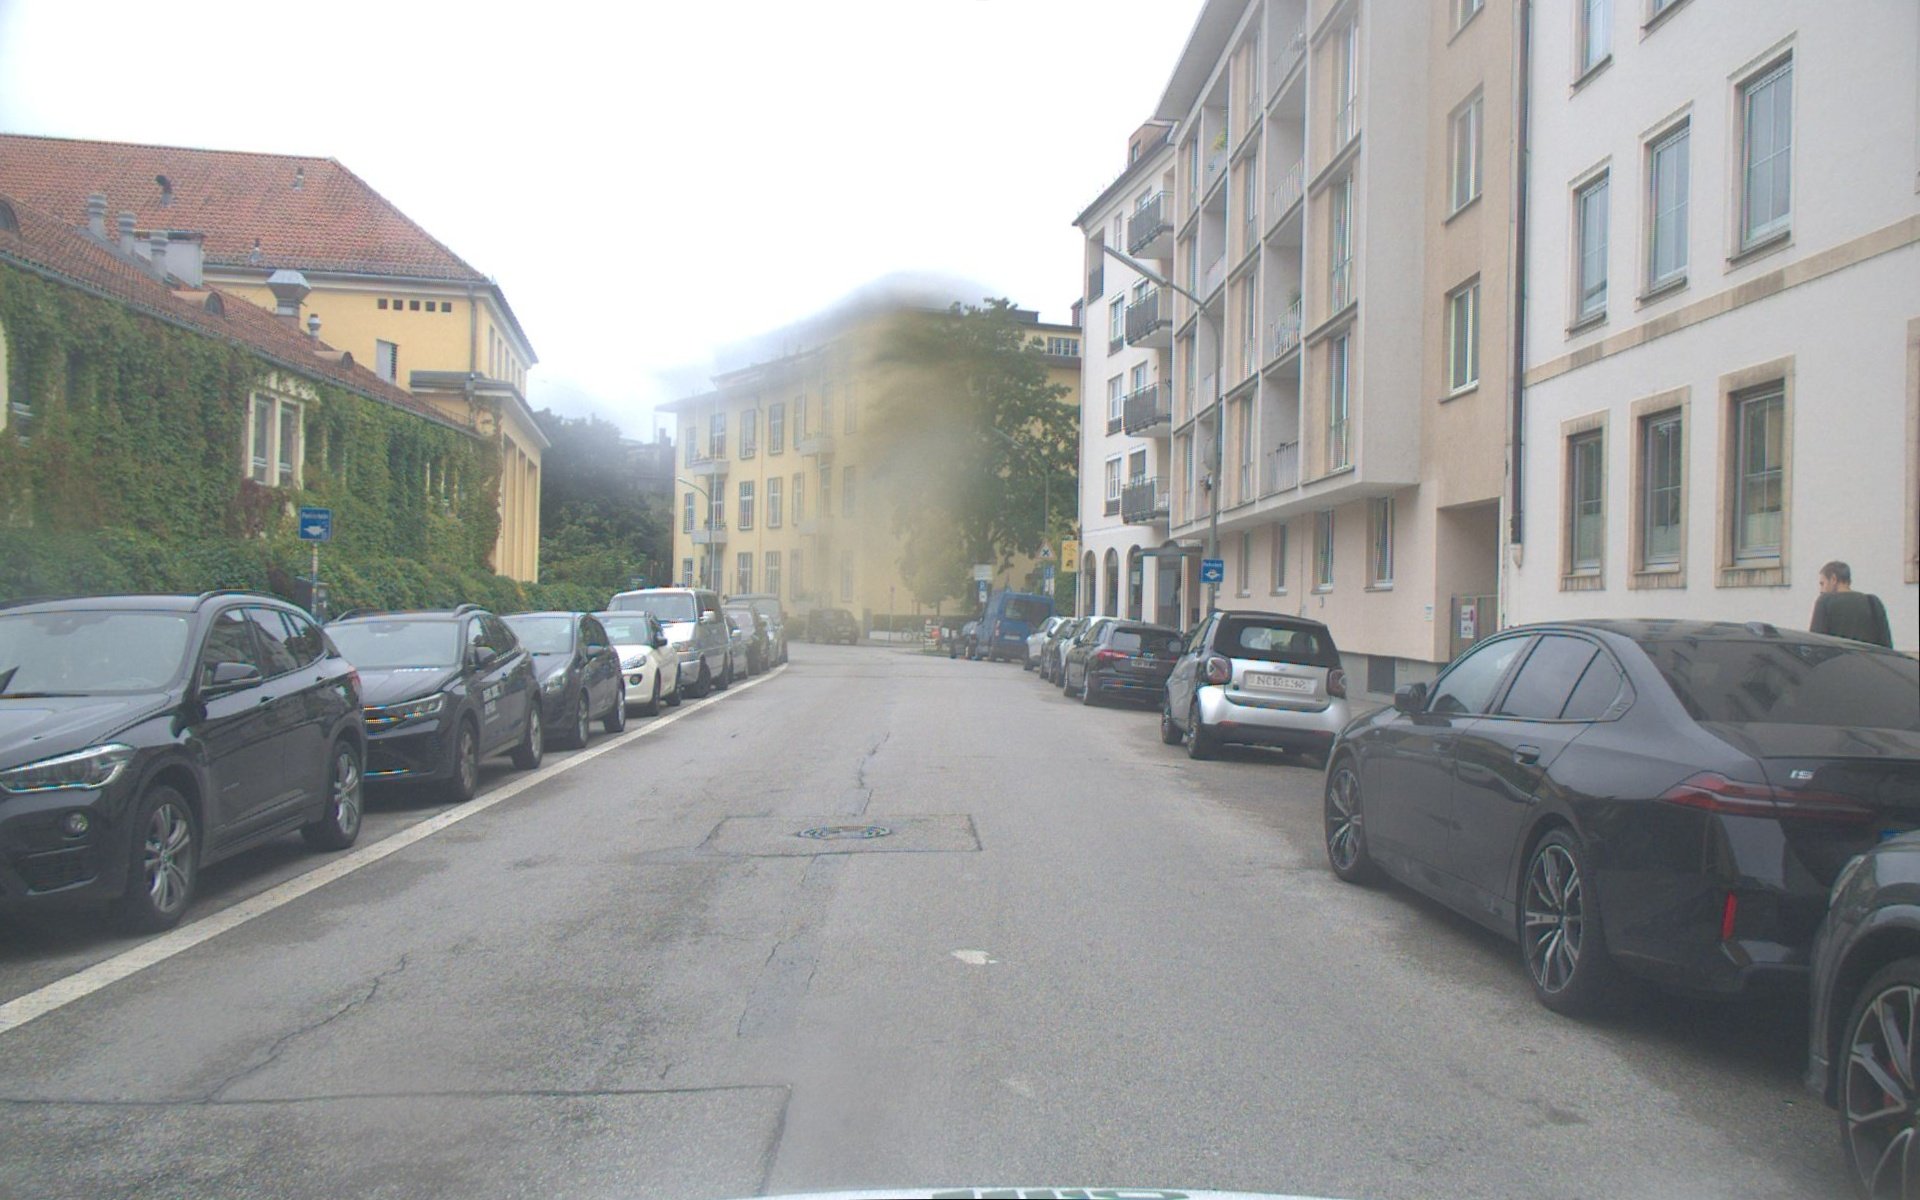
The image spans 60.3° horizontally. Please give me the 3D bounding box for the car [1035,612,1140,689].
[{"bbox_3d":[2.924,1.135,38.980,1.842,1.549,5.162,4,0,-1],"label":"car"}]

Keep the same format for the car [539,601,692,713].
[{"bbox_3d":[-4.986,0.782,24.363,1.559,1.466,4.016,-2,0,-3],"label":"car"}]

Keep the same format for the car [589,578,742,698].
[{"bbox_3d":[-5.157,0.645,29.625,1.848,1.923,4.773,-2,-1,0],"label":"car"}]

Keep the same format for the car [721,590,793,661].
[{"bbox_3d":[-6.200,0.776,50.648,2.033,1.998,5.341,-1,-1,-7],"label":"car"}]

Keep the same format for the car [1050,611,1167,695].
[{"bbox_3d":[2.973,1.032,33.949,1.661,1.515,4.577,3,-1,-3],"label":"car"}]

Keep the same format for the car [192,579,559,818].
[{"bbox_3d":[-4.710,0.715,14.041,1.690,1.658,4.463,-1,0,-3],"label":"car"}]

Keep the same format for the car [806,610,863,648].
[{"bbox_3d":[-7.029,1.596,92.274,1.739,1.907,4.348,6,-2,-23],"label":"car"}]

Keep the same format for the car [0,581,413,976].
[{"bbox_3d":[-4.620,0.774,9.185,1.753,1.614,4.815,-2,0,-3],"label":"car"}]

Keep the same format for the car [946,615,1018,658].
[{"bbox_3d":[0.781,1.361,62.088,1.648,1.413,4.290,5,-2,-13],"label":"car"}]

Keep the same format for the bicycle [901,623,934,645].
[{"bbox_3d":[-2.414,1.915,93.351,1.889,1.222,0.593,1,-1,36],"label":"bicycle"}]

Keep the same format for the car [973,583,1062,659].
[{"bbox_3d":[1.881,0.772,55.980,2.040,2.272,5.235,5,-3,-7],"label":"car"}]

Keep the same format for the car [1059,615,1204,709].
[{"bbox_3d":[2.902,1.018,29.009,1.710,1.412,4.950,3,-1,-3],"label":"car"}]

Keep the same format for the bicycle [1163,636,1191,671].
[{"bbox_3d":[6.174,1.525,47.043,0.446,0.939,1.734,1,-1,-4],"label":"bicycle"}]

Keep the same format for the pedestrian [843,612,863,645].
[{"bbox_3d":[-5.984,1.594,92.512,0.862,1.855,0.793,2,-1,-22],"label":"pedestrian"}]

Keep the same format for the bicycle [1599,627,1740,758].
[{"bbox_3d":[7.276,0.911,17.062,0.519,1.239,2.102,1,-1,0],"label":"bicycle"}]

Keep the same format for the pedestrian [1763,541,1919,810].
[{"bbox_3d":[6.194,0.530,11.570,0.708,1.794,0.904,1,-3,0],"label":"pedestrian"}]

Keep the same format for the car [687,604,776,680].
[{"bbox_3d":[-5.480,0.983,40.109,1.663,1.671,4.488,-2,-1,-2],"label":"car"}]

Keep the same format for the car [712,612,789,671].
[{"bbox_3d":[-5.691,1.102,45.408,1.661,1.417,4.498,-3,0,-3],"label":"car"}]

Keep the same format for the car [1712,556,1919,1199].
[{"bbox_3d":[3.131,0.743,2.655,1.612,1.617,4.633,4,-1,-1],"label":"car"}]

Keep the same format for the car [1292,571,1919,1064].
[{"bbox_3d":[3.123,0.741,7.910,1.766,1.510,5.317,4,-1,-2],"label":"car"}]

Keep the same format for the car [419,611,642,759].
[{"bbox_3d":[-4.815,0.887,19.111,1.571,1.455,4.249,-2,0,-2],"label":"car"}]

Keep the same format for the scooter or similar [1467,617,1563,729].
[{"bbox_3d":[7.182,0.946,21.457,0.432,1.383,1.585,1,-3,-12],"label":"scooter or similar"}]

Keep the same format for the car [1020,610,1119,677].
[{"bbox_3d":[2.864,1.122,44.311,1.751,1.560,4.641,4,-1,-7],"label":"car"}]

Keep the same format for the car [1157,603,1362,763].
[{"bbox_3d":[3.207,0.853,18.217,1.616,1.521,2.880,4,-1,-1],"label":"car"}]

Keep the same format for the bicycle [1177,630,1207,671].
[{"bbox_3d":[6.674,1.439,47.675,0.446,1.130,1.852,1,-1,-4],"label":"bicycle"}]

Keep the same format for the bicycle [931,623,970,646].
[{"bbox_3d":[-0.532,1.902,92.217,2.023,1.222,0.596,1,-1,12],"label":"bicycle"}]

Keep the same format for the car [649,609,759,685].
[{"bbox_3d":[-5.398,0.952,35.351,1.619,1.439,4.769,-2,0,-1],"label":"car"}]
